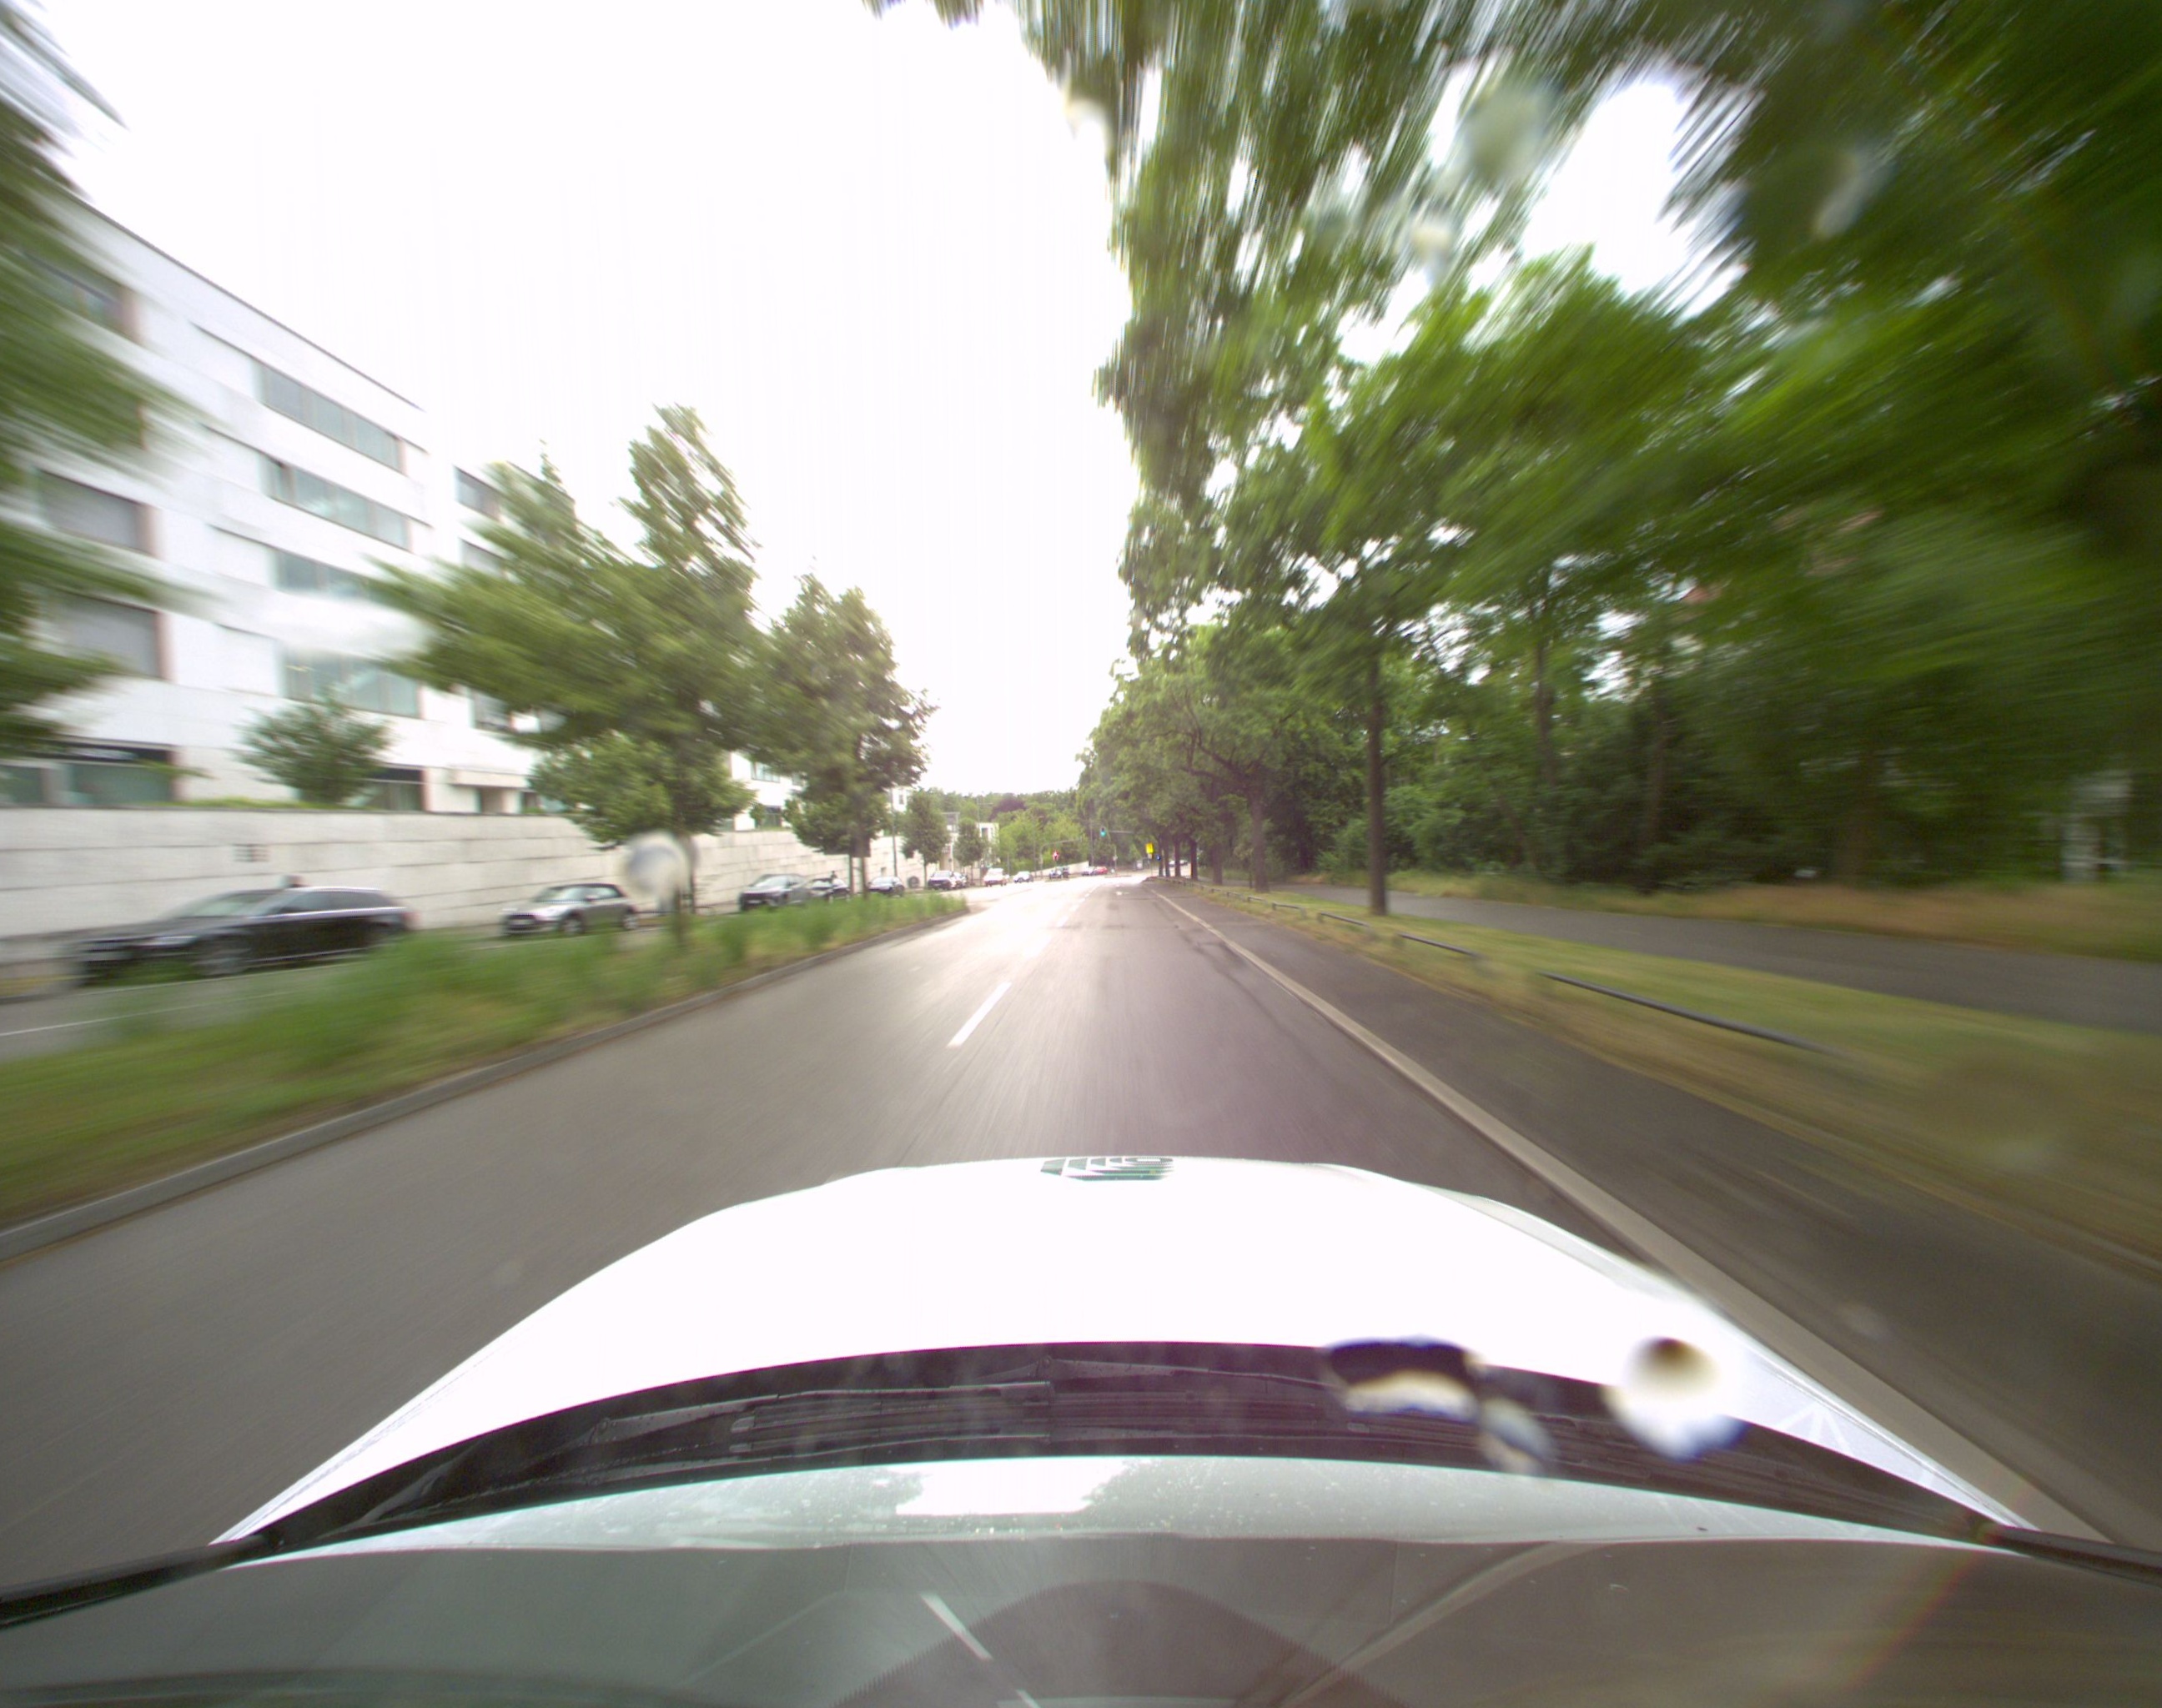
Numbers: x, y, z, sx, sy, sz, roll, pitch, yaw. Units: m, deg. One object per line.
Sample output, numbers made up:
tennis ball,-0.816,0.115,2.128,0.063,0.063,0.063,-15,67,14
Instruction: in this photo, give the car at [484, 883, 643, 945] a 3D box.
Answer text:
car,-14.073,1.575,22.434,1.687,1.444,3.864,-1,-1,4

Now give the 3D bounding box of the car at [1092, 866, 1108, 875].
car,3.562,3.145,153.581,1.860,1.575,4.242,0,0,17

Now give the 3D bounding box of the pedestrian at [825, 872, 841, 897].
pedestrian,-18.182,2.256,59.748,0.705,1.774,1.022,-3,-1,2

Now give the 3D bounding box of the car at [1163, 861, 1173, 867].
car,21.938,2.452,205.358,1.698,1.461,3.769,-2,-1,21

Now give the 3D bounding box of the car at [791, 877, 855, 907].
car,-13.223,1.923,42.011,1.688,1.360,4.166,-2,-1,3

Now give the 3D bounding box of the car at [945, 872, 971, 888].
car,-11.632,2.439,77.188,1.672,1.515,3.712,-1,-1,2

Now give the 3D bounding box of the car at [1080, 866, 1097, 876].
car,1.438,3.109,146.763,1.838,1.640,4.113,0,0,19

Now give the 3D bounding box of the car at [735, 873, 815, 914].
car,-13.401,1.706,35.940,1.696,1.620,4.364,-2,-2,2

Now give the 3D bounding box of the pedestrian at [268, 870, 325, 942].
pedestrian,-19.825,1.300,20.602,0.716,1.775,0.692,-2,0,1

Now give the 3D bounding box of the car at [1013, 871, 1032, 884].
car,-7.283,2.928,101.923,1.763,1.381,4.192,-4,-1,2

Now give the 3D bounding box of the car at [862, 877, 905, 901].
car,-12.678,2.199,52.432,1.673,1.426,3.966,-1,-1,2

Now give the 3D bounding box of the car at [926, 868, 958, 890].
car,-12.122,2.160,71.347,1.850,1.781,4.596,-3,-1,1

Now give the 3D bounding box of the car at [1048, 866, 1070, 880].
car,-3.302,2.819,122.844,1.906,1.857,4.525,-7,-1,15

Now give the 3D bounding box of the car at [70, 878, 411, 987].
car,-14.338,1.242,14.290,1.688,1.581,4.019,-2,-1,3

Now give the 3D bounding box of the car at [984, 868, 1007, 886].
car,-8.723,2.349,83.426,1.704,1.746,4.339,-3,-1,1
